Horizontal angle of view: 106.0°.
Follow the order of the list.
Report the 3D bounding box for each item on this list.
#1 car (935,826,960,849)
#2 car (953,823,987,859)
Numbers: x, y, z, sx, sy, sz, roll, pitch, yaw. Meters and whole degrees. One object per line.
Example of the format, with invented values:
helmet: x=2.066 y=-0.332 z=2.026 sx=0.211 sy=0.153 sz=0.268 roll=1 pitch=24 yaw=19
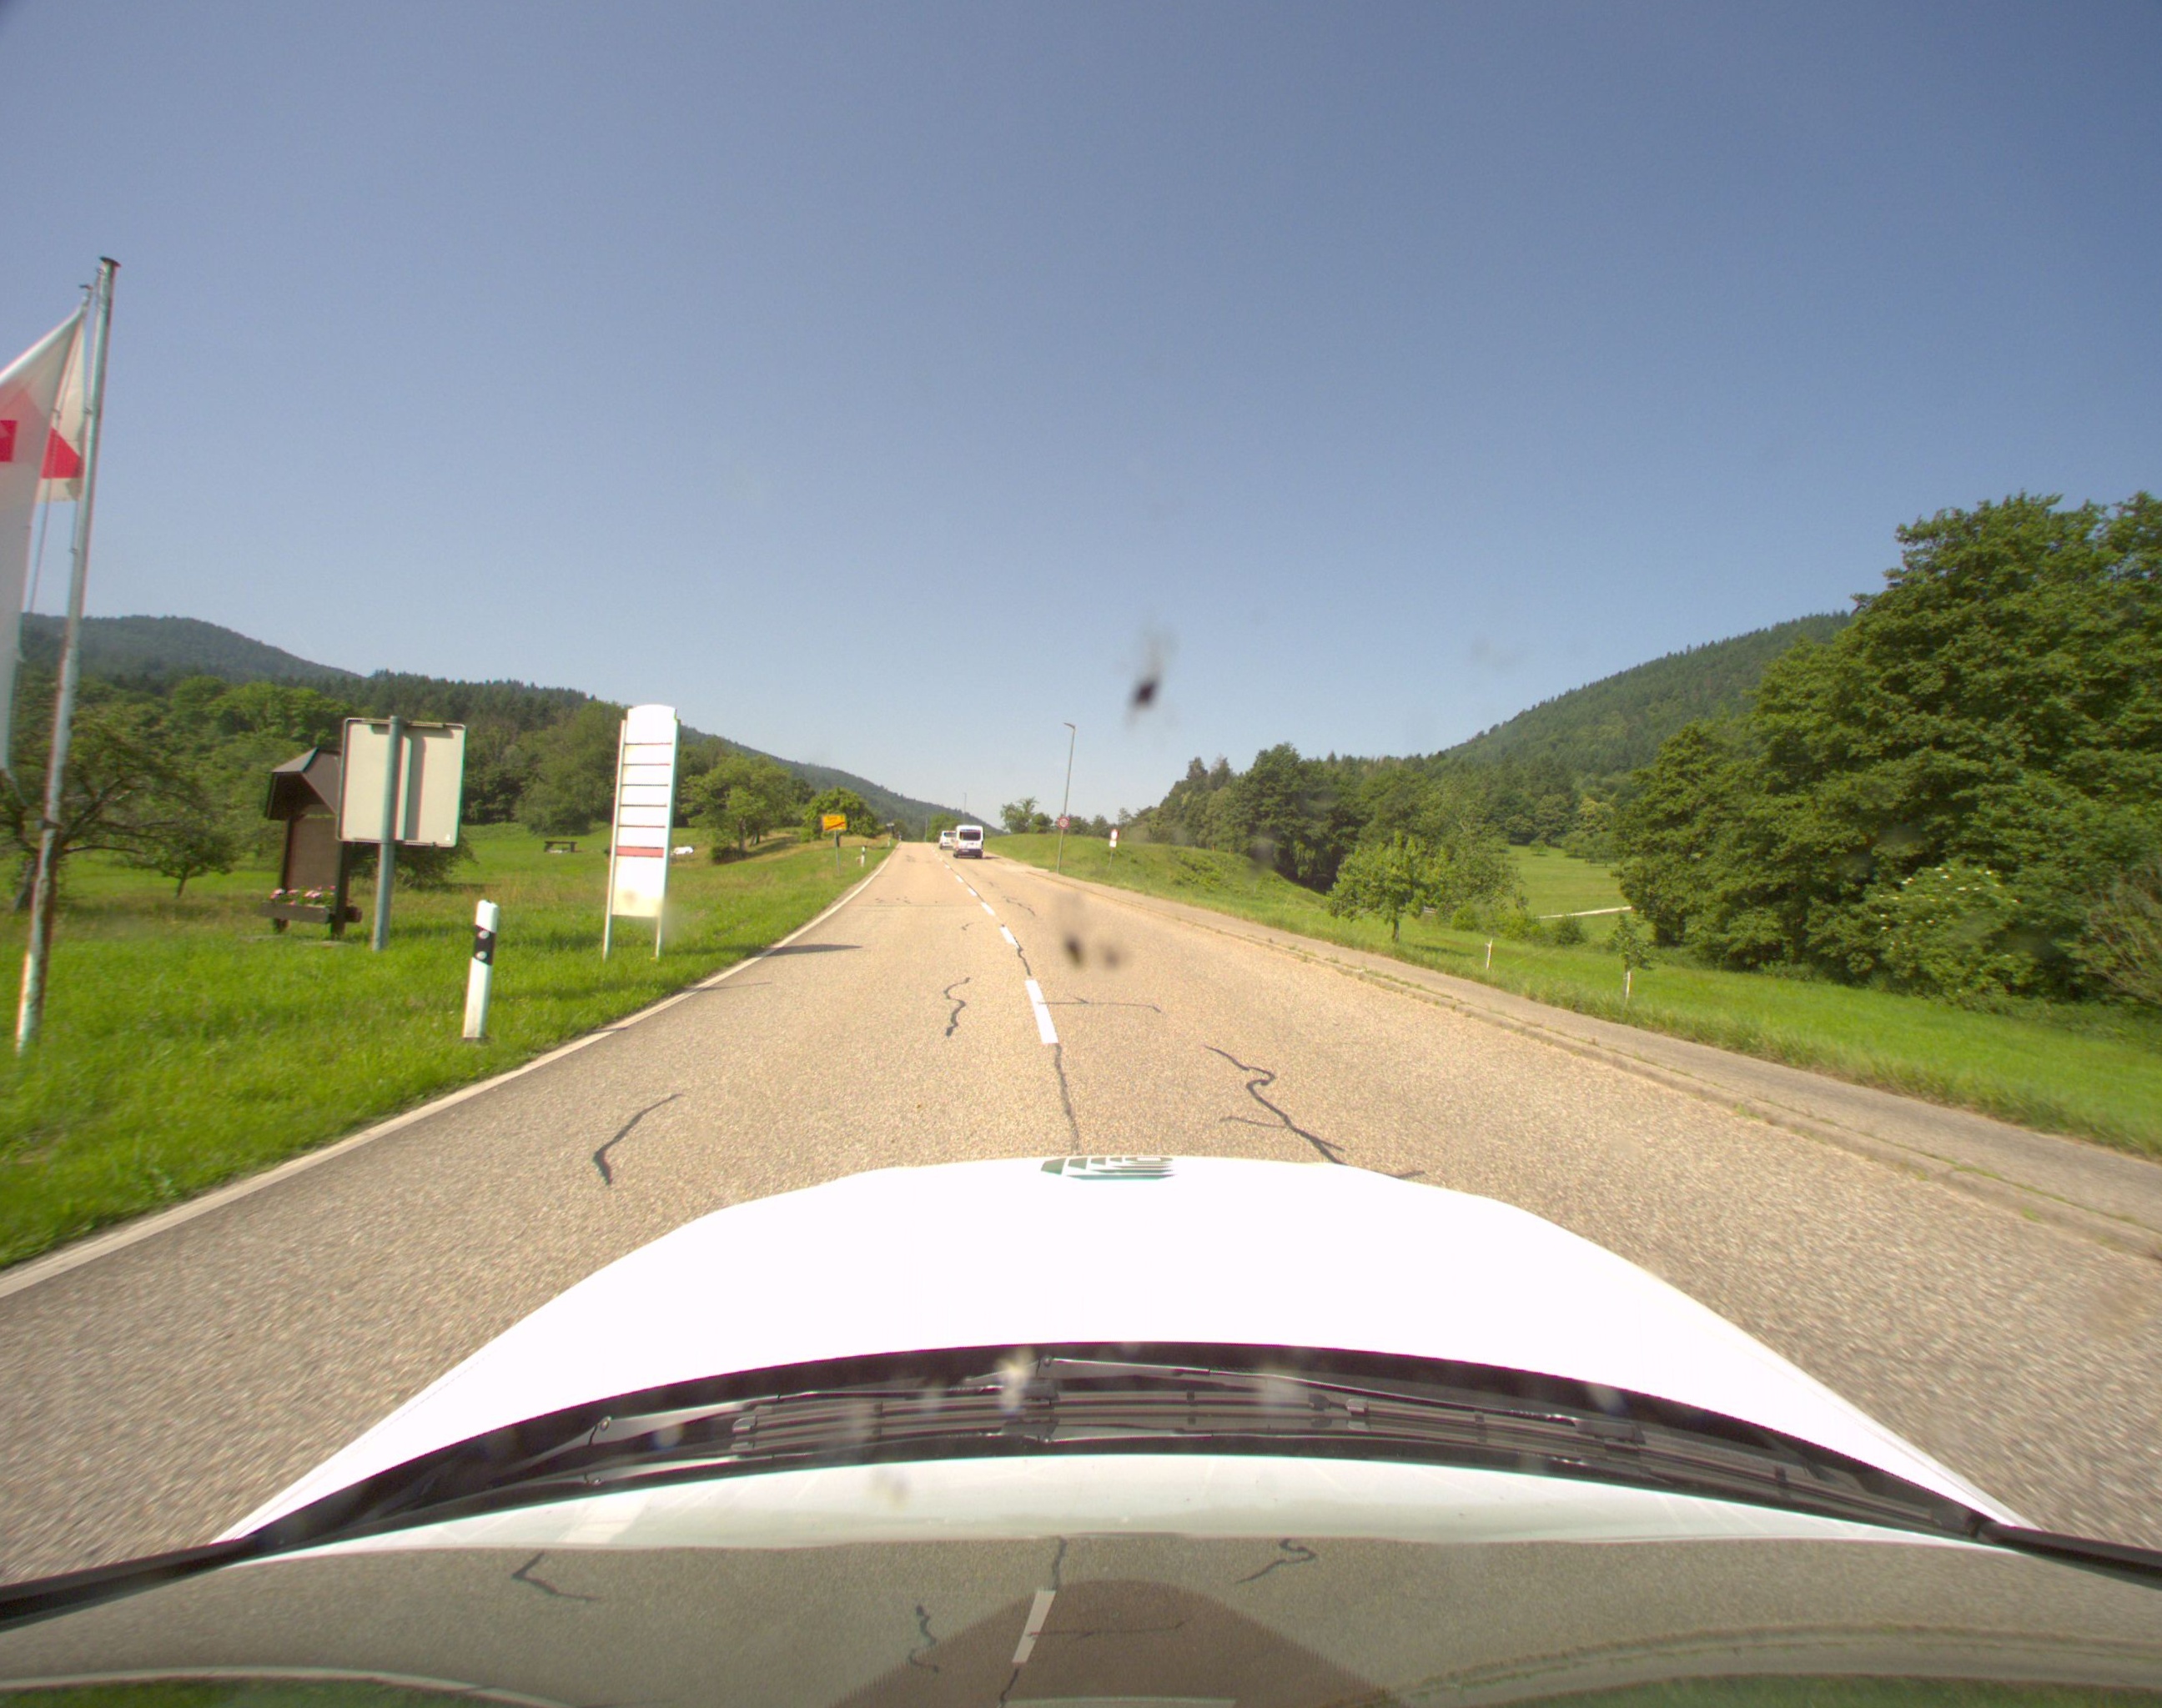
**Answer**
car: x=-14.432 y=-1.745 z=87.855 sx=2.226 sy=2.287 sz=4.959 roll=-1 pitch=-1 yaw=-14
car: x=-8.500 y=-0.939 z=61.798 sx=2.224 sy=2.526 sz=4.964 roll=-1 pitch=-1 yaw=-12
